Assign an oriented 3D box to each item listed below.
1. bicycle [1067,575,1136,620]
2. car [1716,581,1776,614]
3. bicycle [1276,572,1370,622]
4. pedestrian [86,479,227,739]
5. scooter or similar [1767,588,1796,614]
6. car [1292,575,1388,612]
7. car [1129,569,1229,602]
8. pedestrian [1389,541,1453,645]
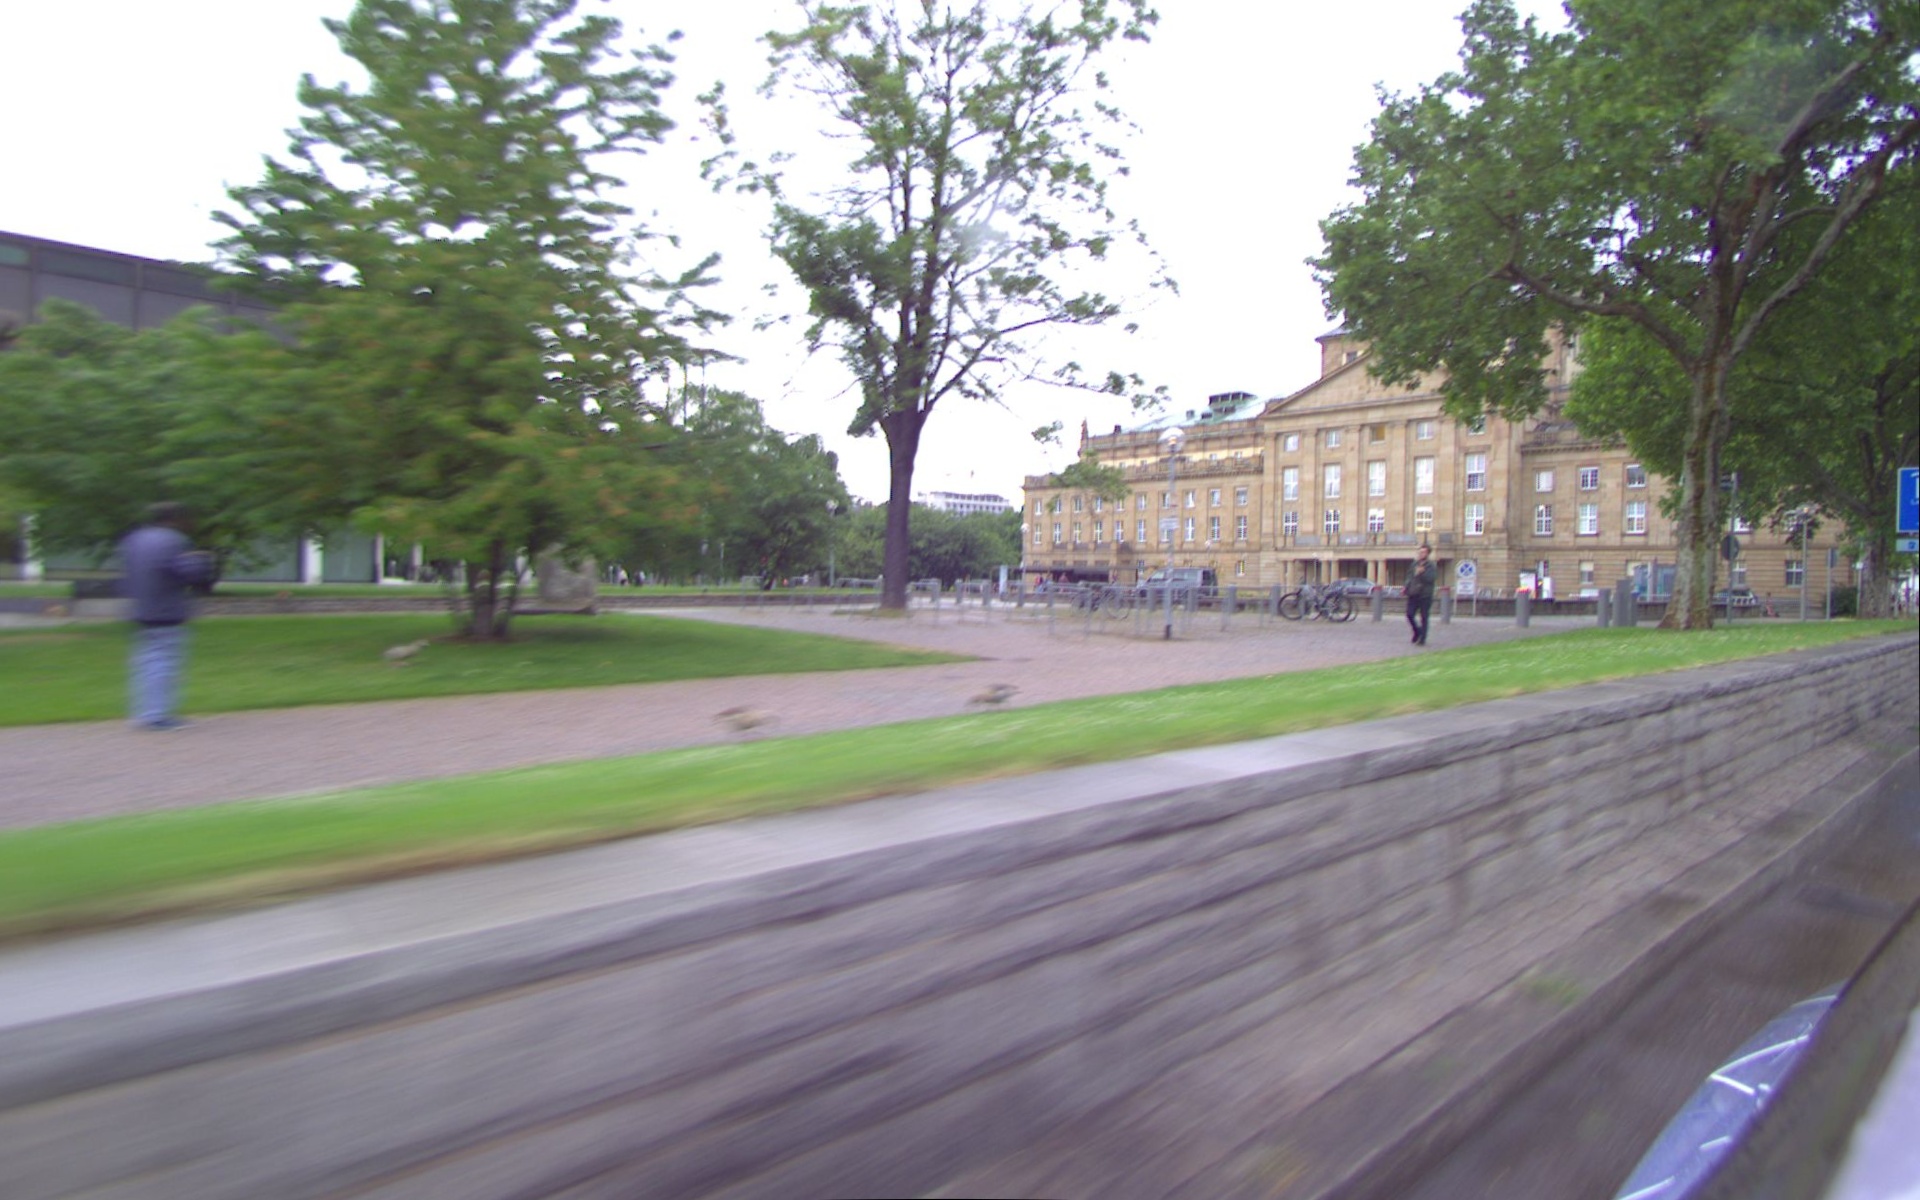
[{"bbox_3d":[3.648,-0.072,26.100,1.640,1.099,0.698,2,1,42],"label":"bicycle"},{"bbox_3d":[41.898,-0.110,53.914,1.994,1.630,5.152,1,0,44],"label":"car"},{"bbox_3d":[9.120,-0.093,25.453,2.029,1.188,0.947,2,1,37],"label":"bicycle"},{"bbox_3d":[-5.843,0.051,7.366,0.595,1.777,0.714,3,1,45],"label":"pedestrian"},{"bbox_3d":[40.395,0.036,49.771,0.535,1.271,1.431,2,1,14],"label":"scooter or similar"},{"bbox_3d":[18.187,-0.352,48.522,1.628,1.619,3.995,0,2,-41],"label":"car"},{"bbox_3d":[12.240,-0.840,56.803,5.007,1.786,2.422,1,1,44],"label":"car"},{"bbox_3d":[8.040,-0.138,17.648,0.681,1.739,0.706,0,4,-42],"label":"pedestrian"}]
